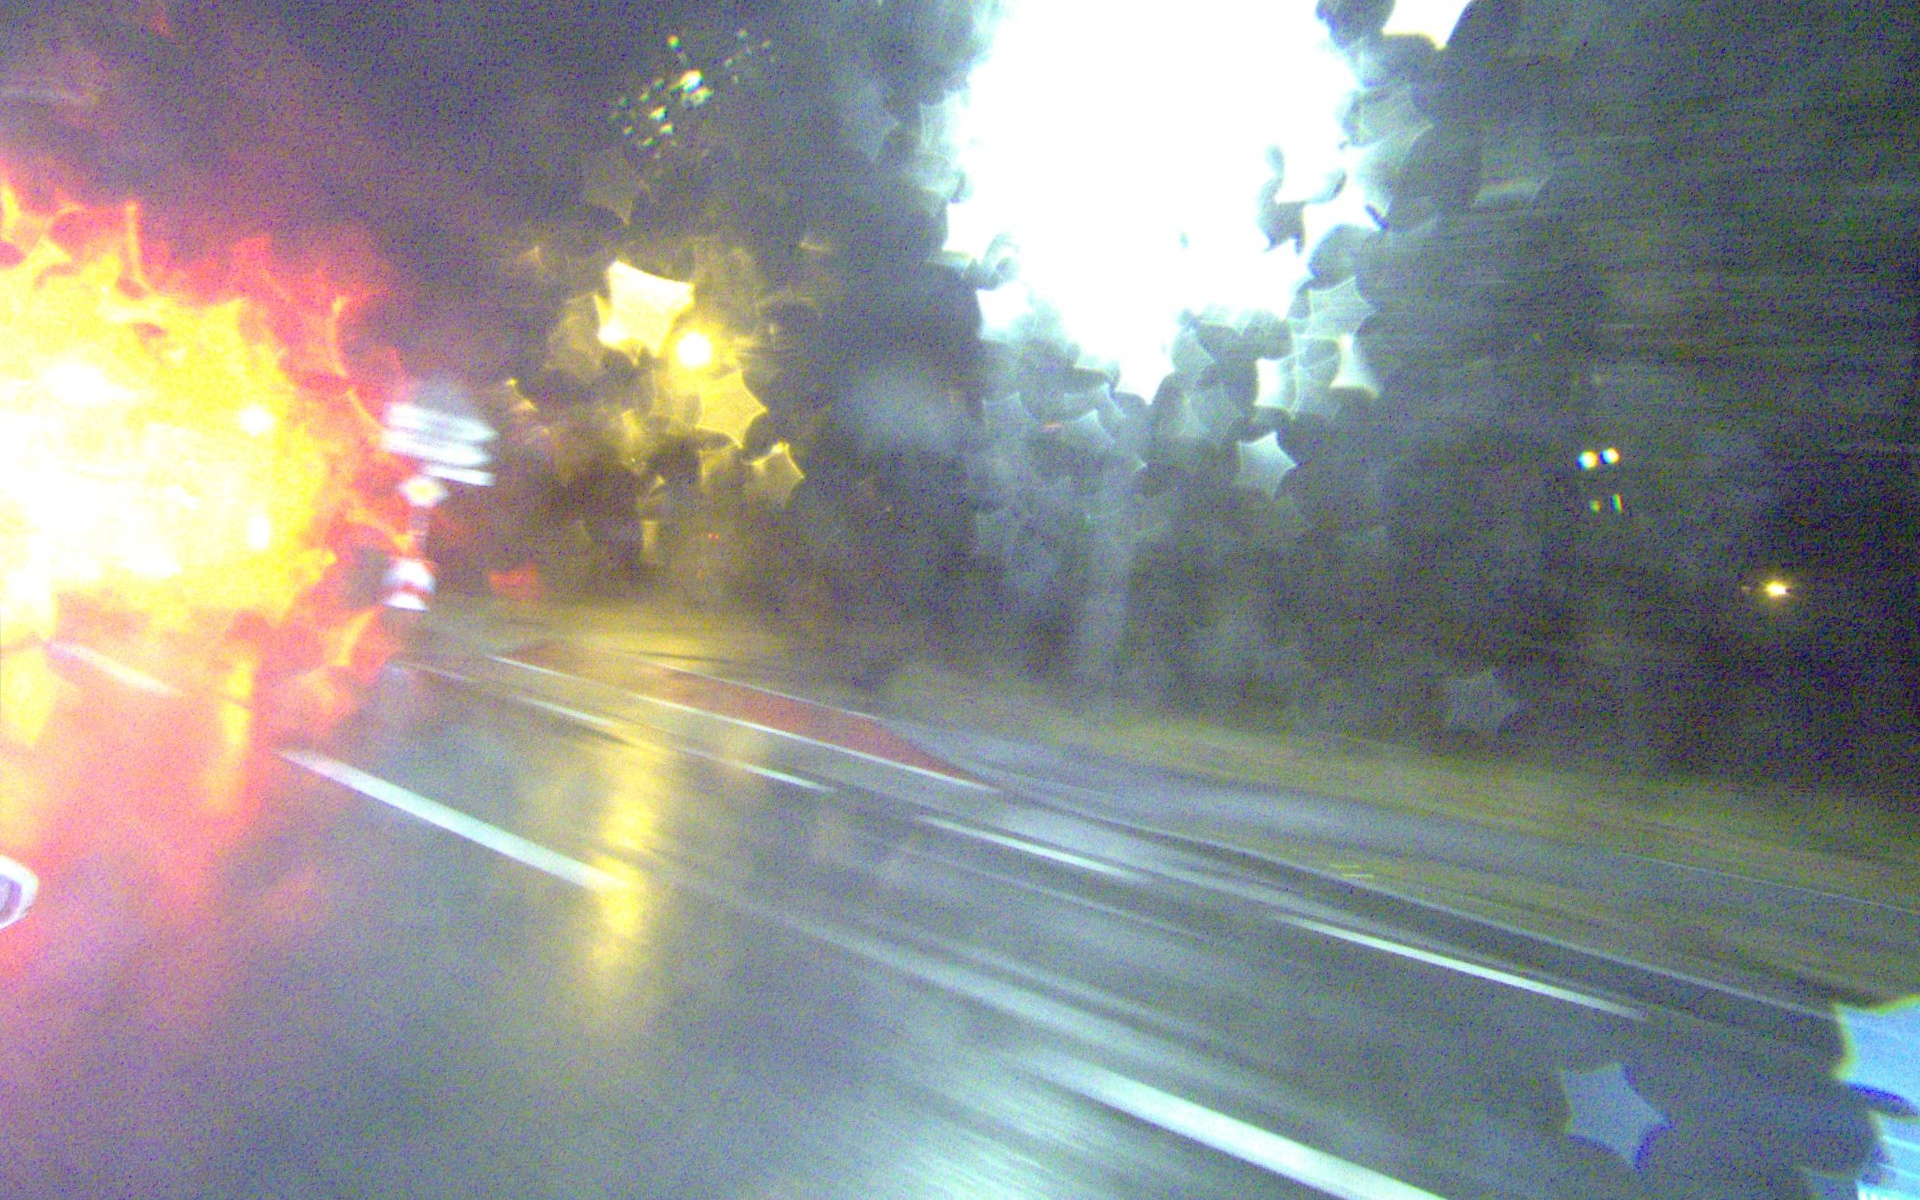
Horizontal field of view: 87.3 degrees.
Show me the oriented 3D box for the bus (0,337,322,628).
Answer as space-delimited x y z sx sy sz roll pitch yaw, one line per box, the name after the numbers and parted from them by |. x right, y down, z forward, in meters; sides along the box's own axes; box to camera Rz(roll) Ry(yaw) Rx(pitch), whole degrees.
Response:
-13.824 -1.849 16.215 8.917 3.249 3.044 8 -1 39 | bus

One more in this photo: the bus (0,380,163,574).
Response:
-20.657 -2.763 21.927 8.917 3.249 3.044 8 -1 39 | bus

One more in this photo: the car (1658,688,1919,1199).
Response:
2.969 1.104 0.513 3.928 1.542 2.000 7 -1 25 | car
